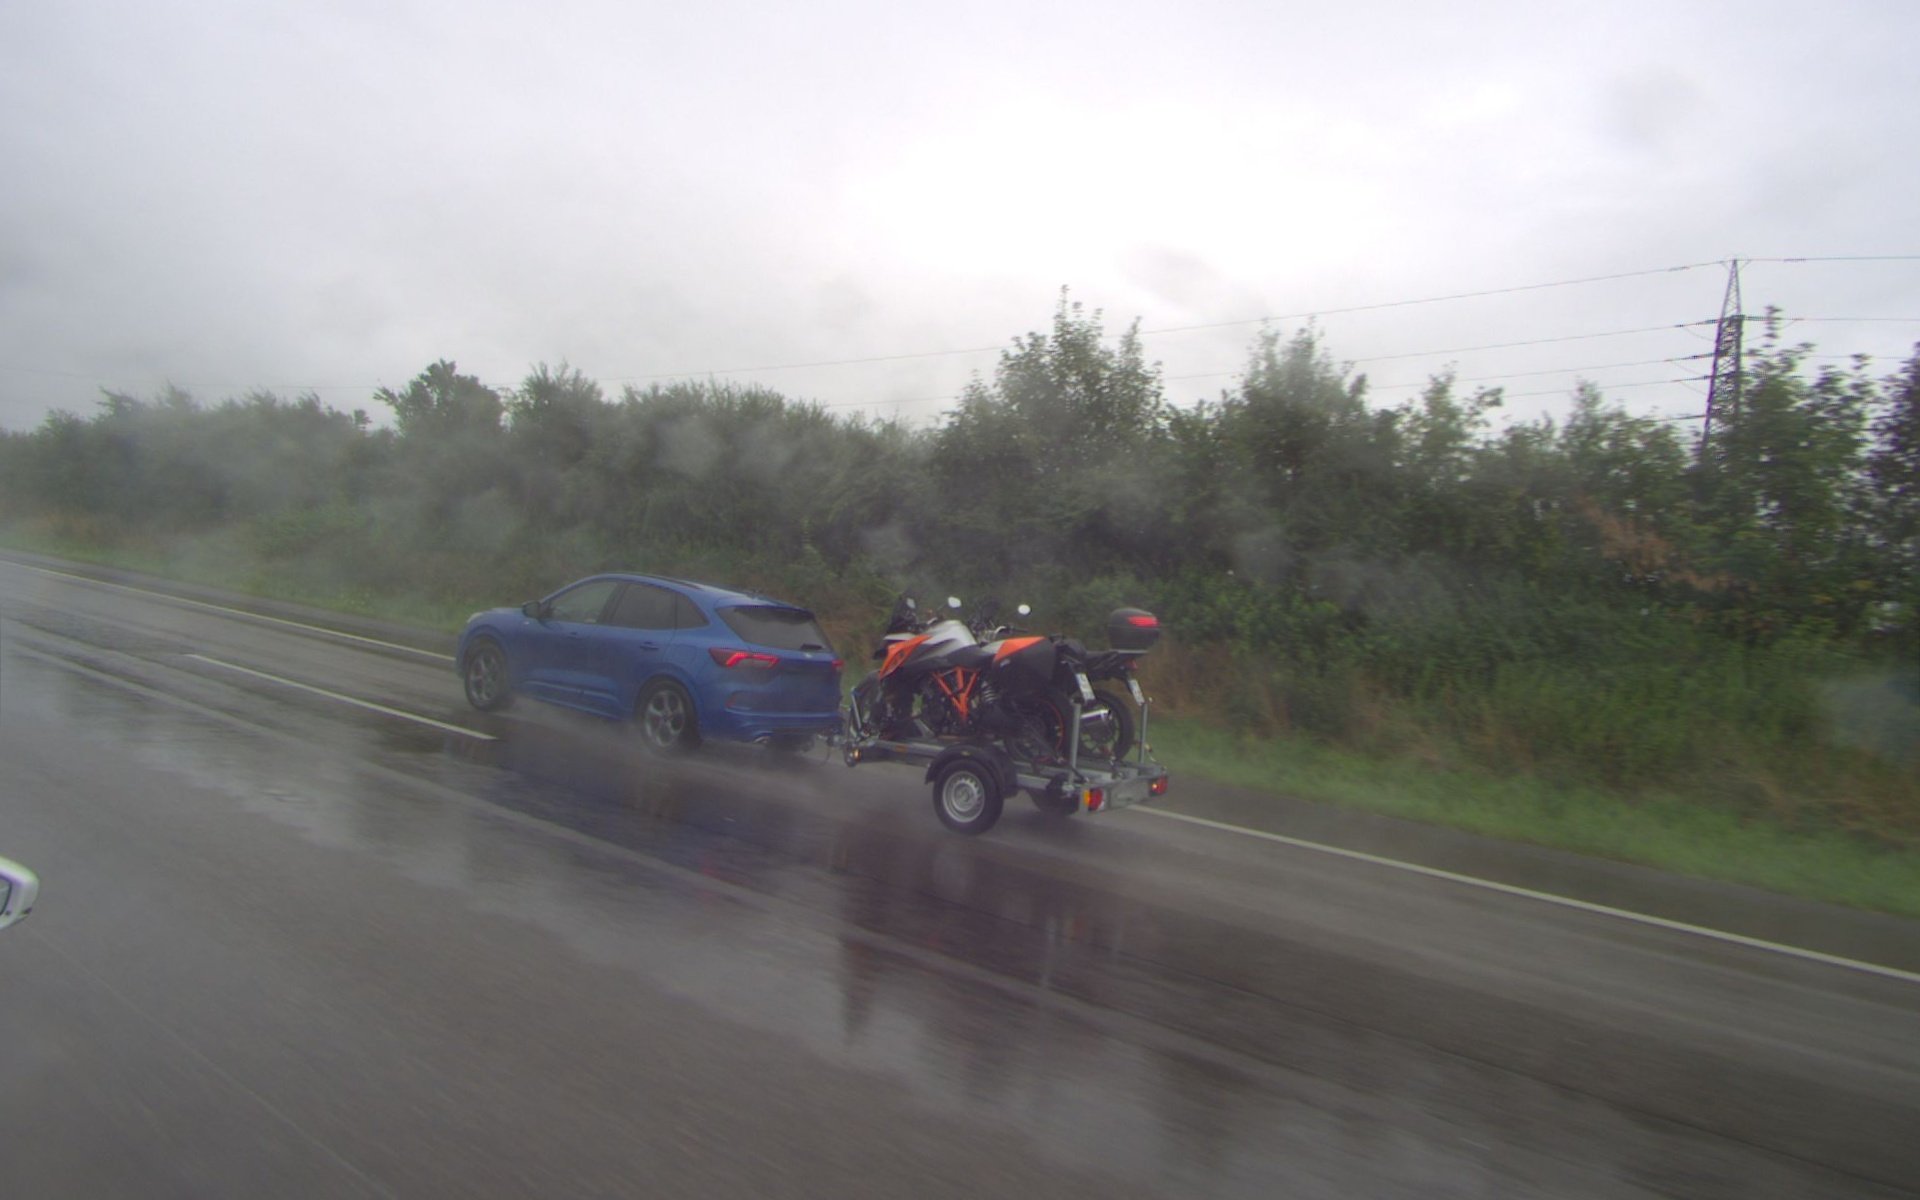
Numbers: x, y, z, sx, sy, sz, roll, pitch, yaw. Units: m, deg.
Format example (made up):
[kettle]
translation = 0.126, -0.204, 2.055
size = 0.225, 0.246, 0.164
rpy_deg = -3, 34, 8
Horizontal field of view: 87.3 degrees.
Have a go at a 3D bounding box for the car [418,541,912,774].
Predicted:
[car]
translation = -3.143, 0.481, 10.338
size = 4.910, 1.638, 1.997
rpy_deg = 6, -2, 32

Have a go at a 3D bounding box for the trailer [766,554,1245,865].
[trailer]
translation = 0.372, 0.754, 8.116
size = 3.136, 1.806, 1.982
rpy_deg = 6, -2, 32
